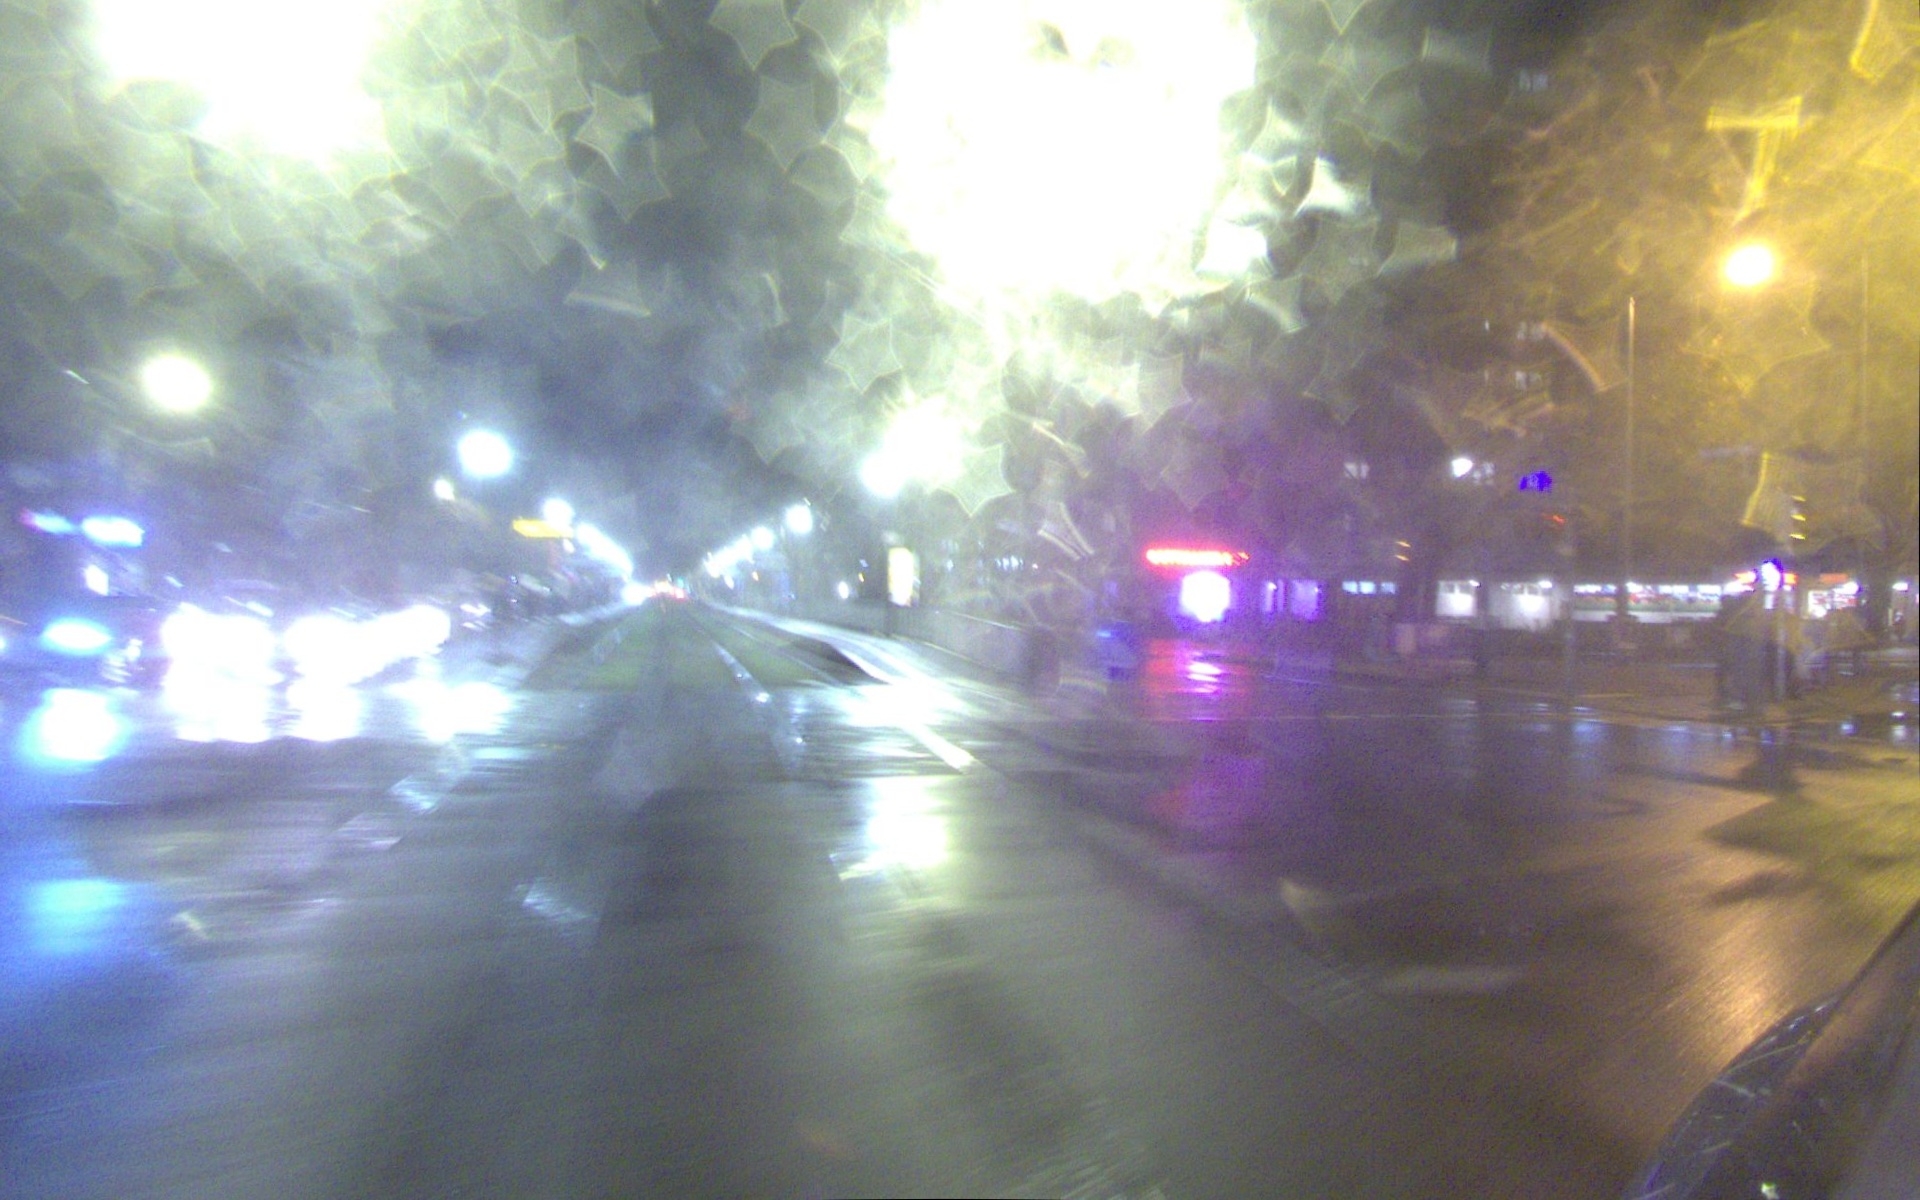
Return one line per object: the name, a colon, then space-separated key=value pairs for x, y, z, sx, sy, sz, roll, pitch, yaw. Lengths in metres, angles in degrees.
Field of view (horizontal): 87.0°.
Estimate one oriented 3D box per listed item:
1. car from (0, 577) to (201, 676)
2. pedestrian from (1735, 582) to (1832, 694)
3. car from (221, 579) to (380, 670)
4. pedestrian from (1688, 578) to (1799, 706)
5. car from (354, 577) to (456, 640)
car: x=-15.974 y=0.423 z=18.622 sx=1.881 sy=1.599 sz=4.599 roll=0 pitch=0 yaw=-19
pedestrian: x=14.222 y=0.624 z=17.485 sx=0.835 sy=1.849 sz=1.110 roll=1 pitch=0 yaw=-36
car: x=-12.788 y=0.426 z=19.869 sx=1.706 sy=1.599 sz=3.806 roll=0 pitch=0 yaw=-19
pedestrian: x=11.855 y=0.603 z=15.322 sx=0.834 sy=1.849 sz=1.111 roll=1 pitch=0 yaw=-34
car: x=-15.122 y=0.220 z=27.755 sx=1.655 sy=1.599 sz=3.737 roll=0 pitch=0 yaw=-16
